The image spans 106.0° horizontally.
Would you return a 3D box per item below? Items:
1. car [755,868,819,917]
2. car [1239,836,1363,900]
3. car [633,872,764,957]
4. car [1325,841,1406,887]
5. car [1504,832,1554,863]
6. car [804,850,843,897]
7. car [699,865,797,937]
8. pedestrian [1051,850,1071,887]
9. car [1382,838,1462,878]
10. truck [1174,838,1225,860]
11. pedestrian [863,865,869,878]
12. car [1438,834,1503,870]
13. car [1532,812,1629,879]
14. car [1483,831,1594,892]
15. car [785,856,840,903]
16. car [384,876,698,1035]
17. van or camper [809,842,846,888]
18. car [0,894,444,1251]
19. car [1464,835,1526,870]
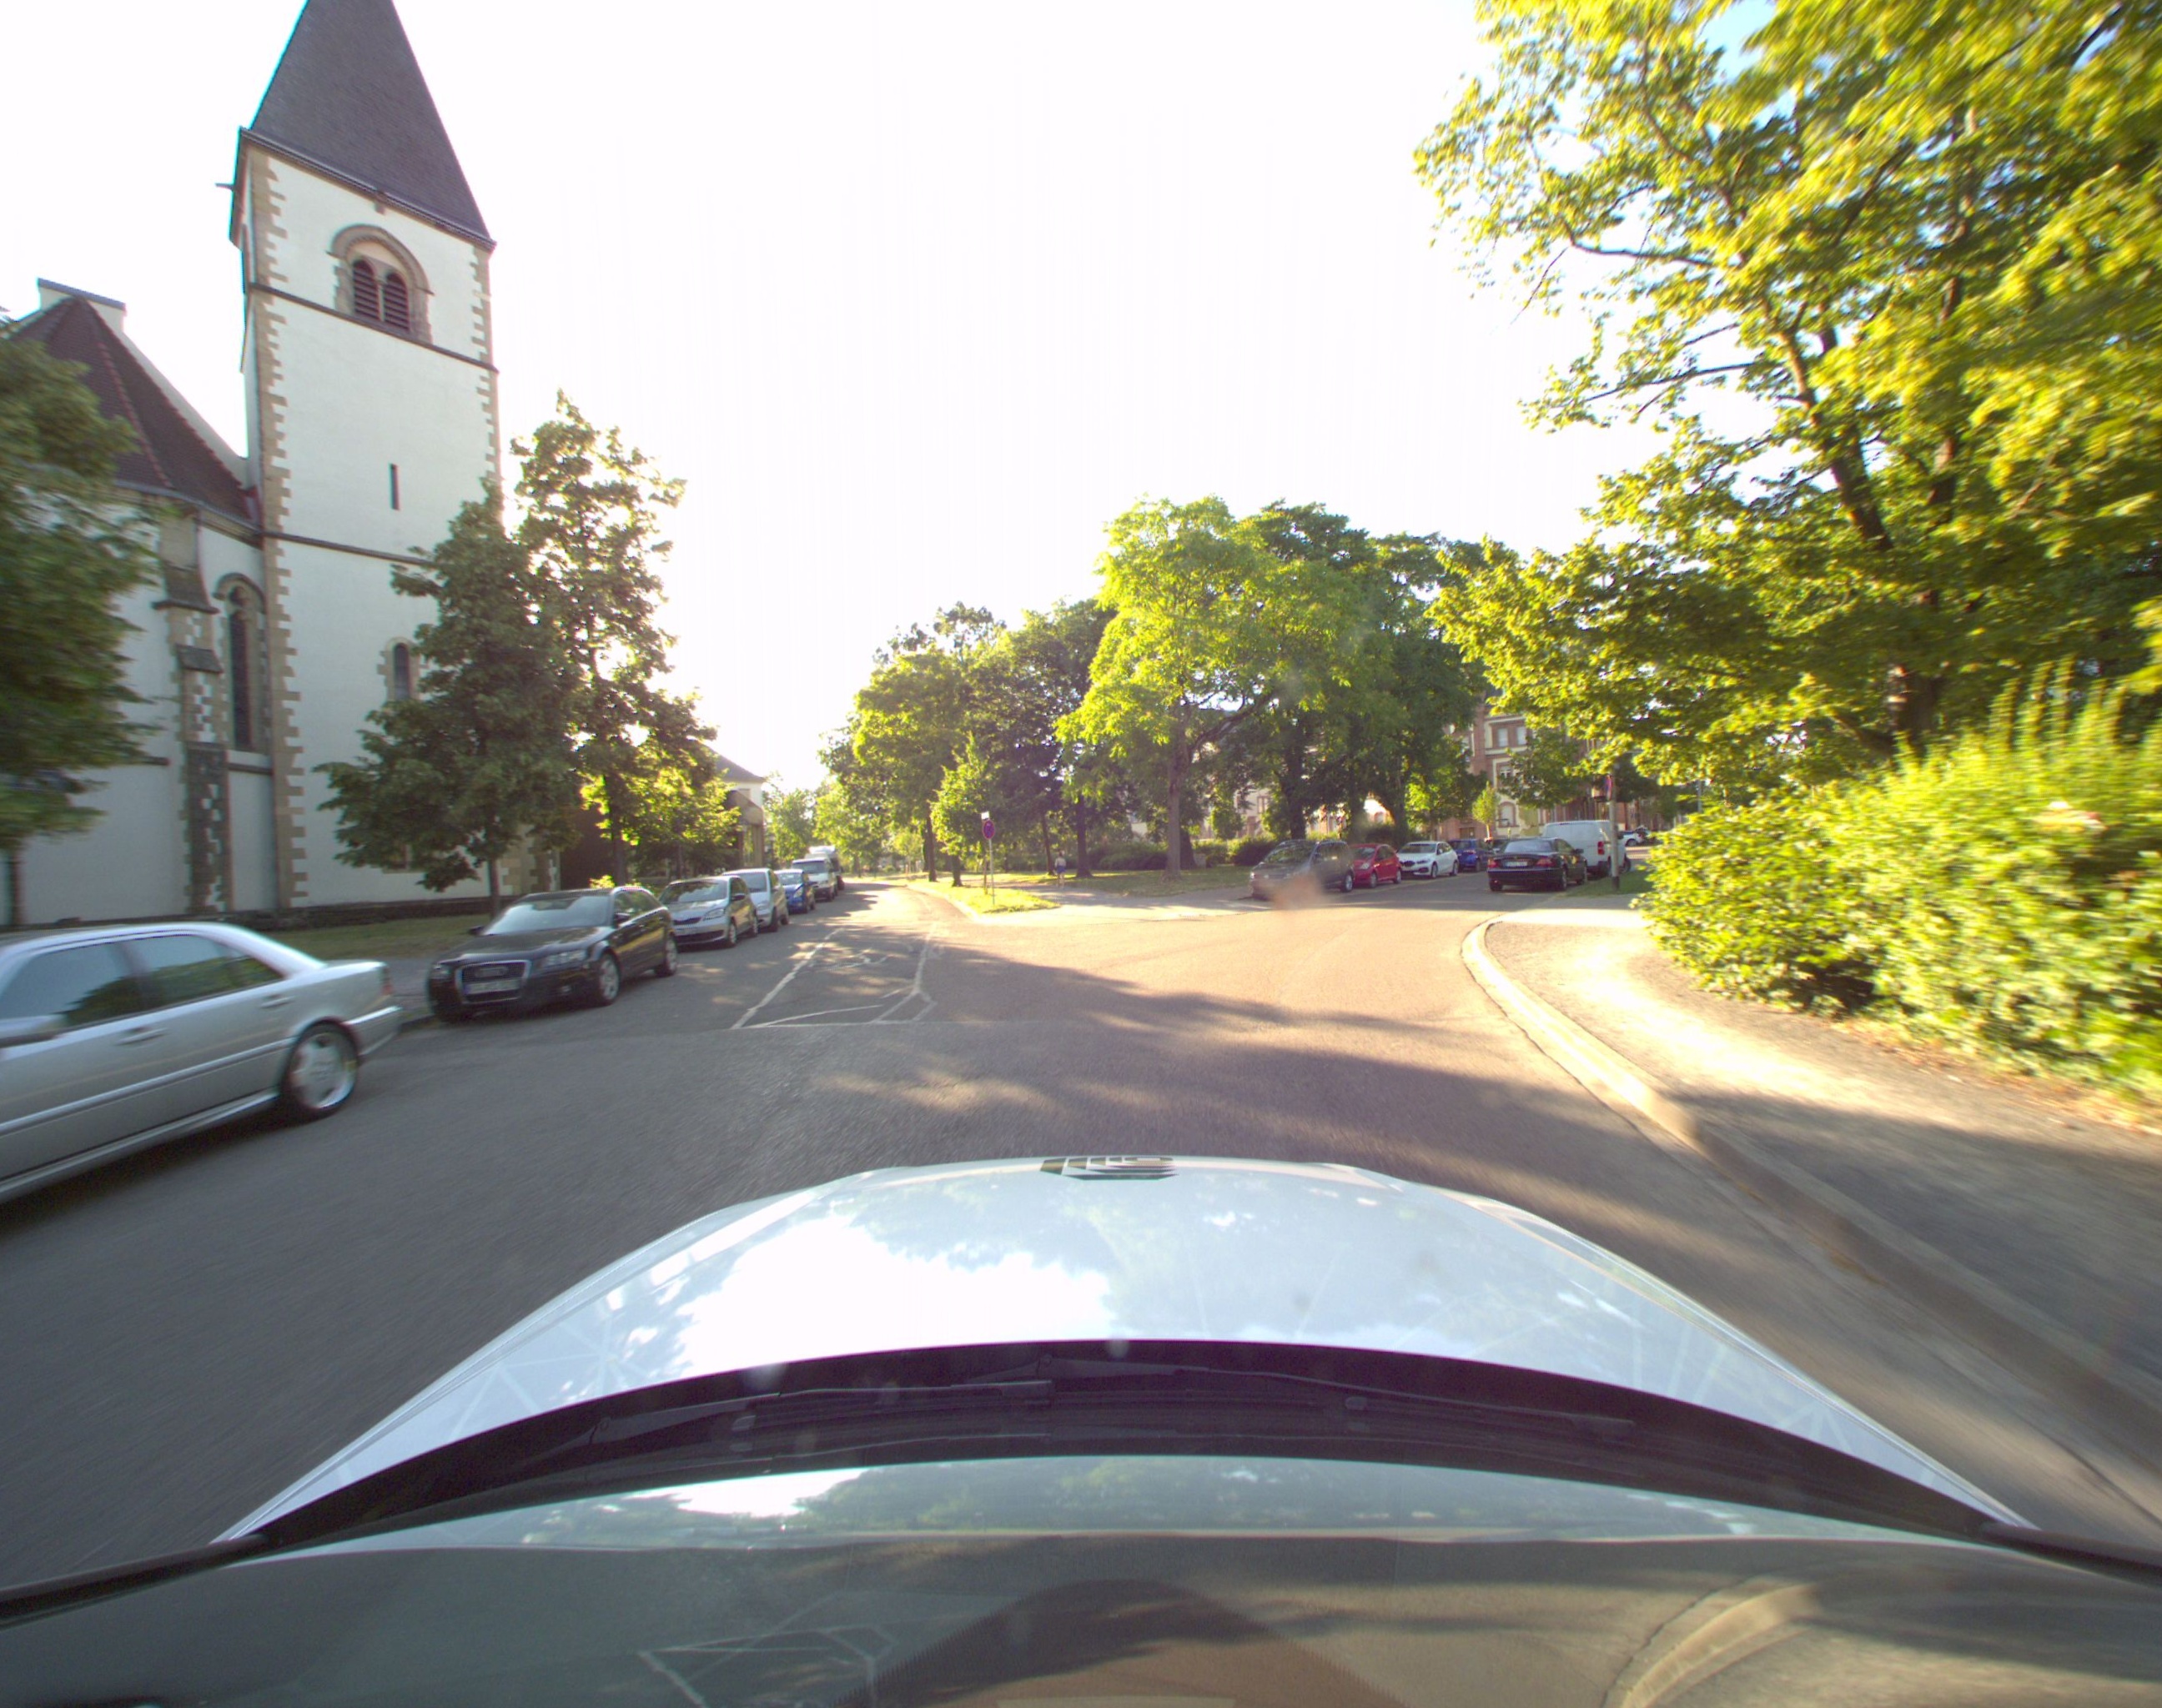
[{"bbox_3d":[-10.225,1.280,28.538,1.618,1.501,3.680,-2,0,-13],"label":"car"},{"bbox_3d":[6.657,0.340,24.363,1.785,1.675,4.347,0,1,42],"label":"car"},{"bbox_3d":[-7.952,1.190,17.275,1.613,1.440,3.591,-4,0,-11],"label":"car"},{"bbox_3d":[9.817,0.294,27.967,1.374,1.423,3.448,0,1,42],"label":"car"},{"bbox_3d":[24.382,-0.373,44.249,1.577,1.526,3.890,-3,0,40],"label":"car"},{"bbox_3d":[-14.207,1.047,44.857,1.856,2.355,5.153,-2,0,-18],"label":"car"},{"bbox_3d":[-8.525,1.134,21.133,1.706,1.579,3.680,-2,0,-13],"label":"car"},{"bbox_3d":[-0.886,0.630,36.260,0.771,1.574,0.767,-3,0,-3],"label":"pedestrian"},{"bbox_3d":[13.496,0.117,32.112,1.674,1.406,3.999,0,1,42],"label":"car"},{"bbox_3d":[17.218,-0.697,118.640,2.622,3.029,7.925,-2,0,-33],"label":"truck"},{"bbox_3d":[-27.333,2.278,103.650,0.637,1.597,0.666,-2,0,-23],"label":"pedestrian"},{"bbox_3d":[17.593,-0.096,36.735,1.623,1.495,3.728,0,1,42],"label":"car"},{"bbox_3d":[16.734,-0.309,27.139,1.934,2.013,5.186,-3,0,40],"label":"car"},{"bbox_3d":[12.789,0.154,22.596,1.748,1.468,4.896,-3,0,40],"label":"car"},{"bbox_3d":[-12.193,1.101,37.304,1.853,1.946,4.819,-2,0,-13],"label":"car"},{"bbox_3d":[-6.759,1.128,10.880,1.826,1.415,4.477,-5,0,-11],"label":"car"},{"bbox_3d":[-17.275,0.757,55.715,2.094,2.908,6.298,-2,0,-15],"label":"van or camper"},{"bbox_3d":[-5.732,1.092,4.182,1.779,1.415,4.485,-5,0,-8],"label":"car"},{"bbox_3d":[20.280,-0.091,39.822,1.537,1.494,3.966,-3,0,45],"label":"car"}]
